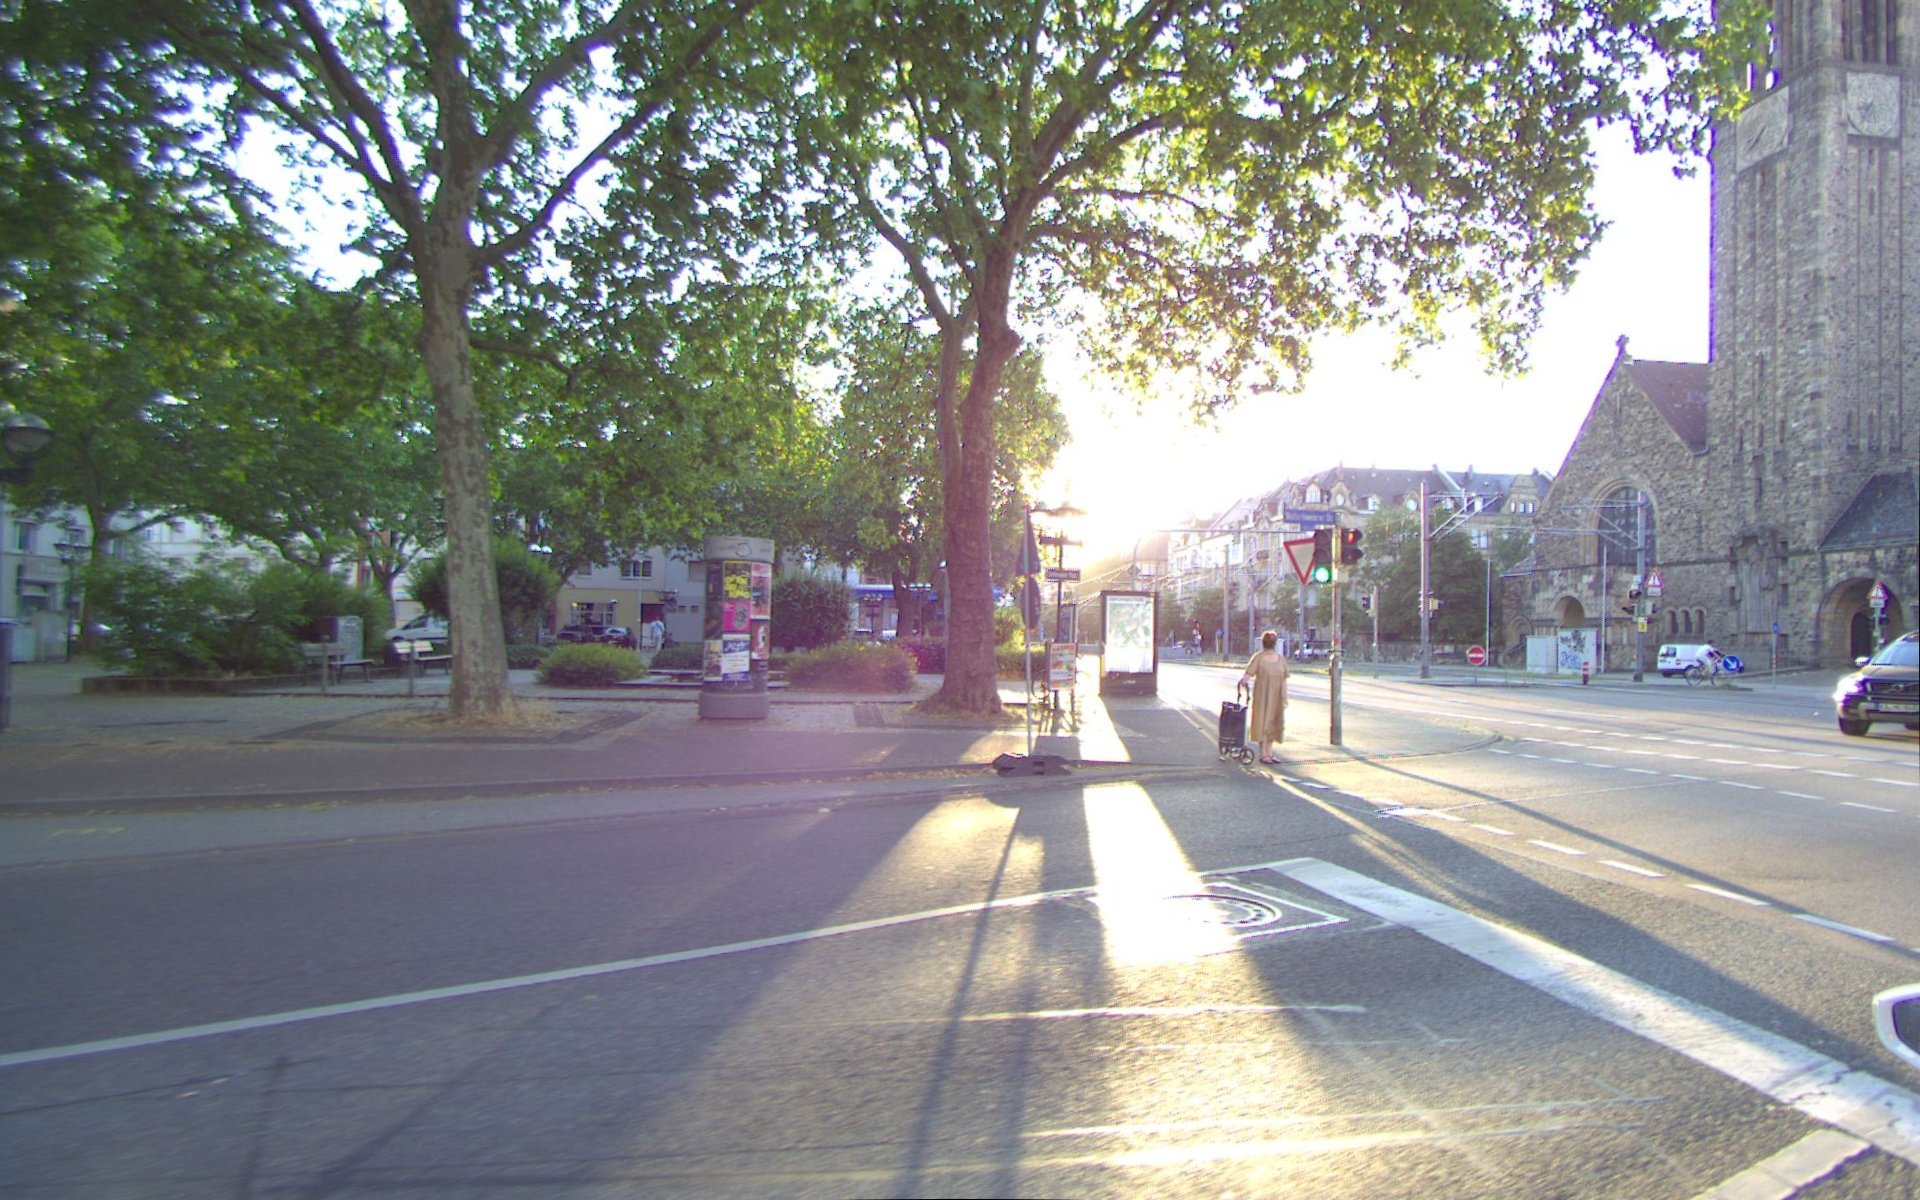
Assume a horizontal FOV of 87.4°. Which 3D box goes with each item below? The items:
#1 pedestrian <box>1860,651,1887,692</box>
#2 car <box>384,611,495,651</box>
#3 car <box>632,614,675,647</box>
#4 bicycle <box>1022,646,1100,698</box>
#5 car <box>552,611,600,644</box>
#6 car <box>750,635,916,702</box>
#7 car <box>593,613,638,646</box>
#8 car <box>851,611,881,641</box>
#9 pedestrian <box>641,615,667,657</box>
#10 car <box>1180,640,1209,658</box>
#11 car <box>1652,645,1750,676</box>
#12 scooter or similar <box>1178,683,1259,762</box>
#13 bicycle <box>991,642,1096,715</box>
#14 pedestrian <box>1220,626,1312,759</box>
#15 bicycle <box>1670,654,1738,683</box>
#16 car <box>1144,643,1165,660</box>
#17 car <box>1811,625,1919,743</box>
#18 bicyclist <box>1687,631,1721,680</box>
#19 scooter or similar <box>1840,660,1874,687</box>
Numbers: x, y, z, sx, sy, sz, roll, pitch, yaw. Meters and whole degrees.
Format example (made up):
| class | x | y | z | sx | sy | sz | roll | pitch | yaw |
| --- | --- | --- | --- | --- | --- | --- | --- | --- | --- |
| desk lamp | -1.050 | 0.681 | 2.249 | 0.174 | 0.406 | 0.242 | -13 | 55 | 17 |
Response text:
| class | x | y | z | sx | sy | sz | roll | pitch | yaw |
| --- | --- | --- | --- | --- | --- | --- | --- | --- | --- |
| pedestrian | 39.804 | 3.102 | 43.773 | 0.593 | 1.721 | 0.633 | 2 | -1 | -18 |
| car | -26.239 | 1.567 | 50.770 | 4.556 | 1.964 | 1.998 | 0 | -2 | -9 |
| car | -20.212 | 2.000 | 66.329 | 1.963 | 2.040 | 3.995 | 2 | -1 | -7 |
| bicycle | 2.256 | 1.600 | 22.268 | 1.779 | 1.107 | 0.455 | 3 | -1 | -32 |
| car | -24.980 | 1.787 | 65.441 | 1.963 | 2.040 | 3.995 | 2 | -1 | -7 |
| car | -3.558 | 1.940 | 28.753 | 4.552 | 1.805 | 1.999 | 0 | -2 | -4 |
| car | -22.529 | 1.895 | 65.822 | 1.963 | 2.040 | 3.995 | 2 | -1 | -7 |
| car | -6.345 | 1.734 | 67.431 | 1.882 | 1.873 | 3.996 | 2 | -1 | -7 |
| pedestrian | -12.884 | 1.506 | 42.320 | 0.869 | 1.694 | 0.740 | 2 | -1 | -7 |
| car | 28.570 | 5.935 | 122.512 | 1.964 | 2.040 | 3.993 | 2 | -1 | -10 |
| car | 41.631 | 3.398 | 56.474 | 4.371 | 1.537 | 1.718 | 2 | -1 | -5 |
| scooter or similar | 3.257 | 1.523 | 12.659 | 0.845 | 0.909 | 0.586 | 3 | -1 | -40 |
| bicycle | 1.608 | 1.507 | 19.248 | 1.967 | 1.344 | 0.524 | 3 | -1 | -25 |
| pedestrian | 3.986 | 1.183 | 13.099 | 0.766 | 1.649 | 0.797 | 3 | -1 | -34 |
| bicycle | 28.962 | 2.673 | 39.124 | 2.201 | 1.092 | 0.658 | 1 | 0 | -1 |
| car | 26.756 | 7.083 | 138.267 | 1.961 | 2.040 | 3.999 | 2 | -1 | -3 |
| car | 16.734 | 1.383 | 17.133 | 4.742 | 1.808 | 1.984 | 2 | -1 | -31 |
| bicyclist | 28.959 | 2.154 | 39.121 | 0.842 | 1.851 | 0.659 | 0 | -1 | 3 |
| scooter or similar | 38.639 | 3.159 | 43.263 | 1.062 | 1.117 | 0.633 | 3 | -3 | -19 |
